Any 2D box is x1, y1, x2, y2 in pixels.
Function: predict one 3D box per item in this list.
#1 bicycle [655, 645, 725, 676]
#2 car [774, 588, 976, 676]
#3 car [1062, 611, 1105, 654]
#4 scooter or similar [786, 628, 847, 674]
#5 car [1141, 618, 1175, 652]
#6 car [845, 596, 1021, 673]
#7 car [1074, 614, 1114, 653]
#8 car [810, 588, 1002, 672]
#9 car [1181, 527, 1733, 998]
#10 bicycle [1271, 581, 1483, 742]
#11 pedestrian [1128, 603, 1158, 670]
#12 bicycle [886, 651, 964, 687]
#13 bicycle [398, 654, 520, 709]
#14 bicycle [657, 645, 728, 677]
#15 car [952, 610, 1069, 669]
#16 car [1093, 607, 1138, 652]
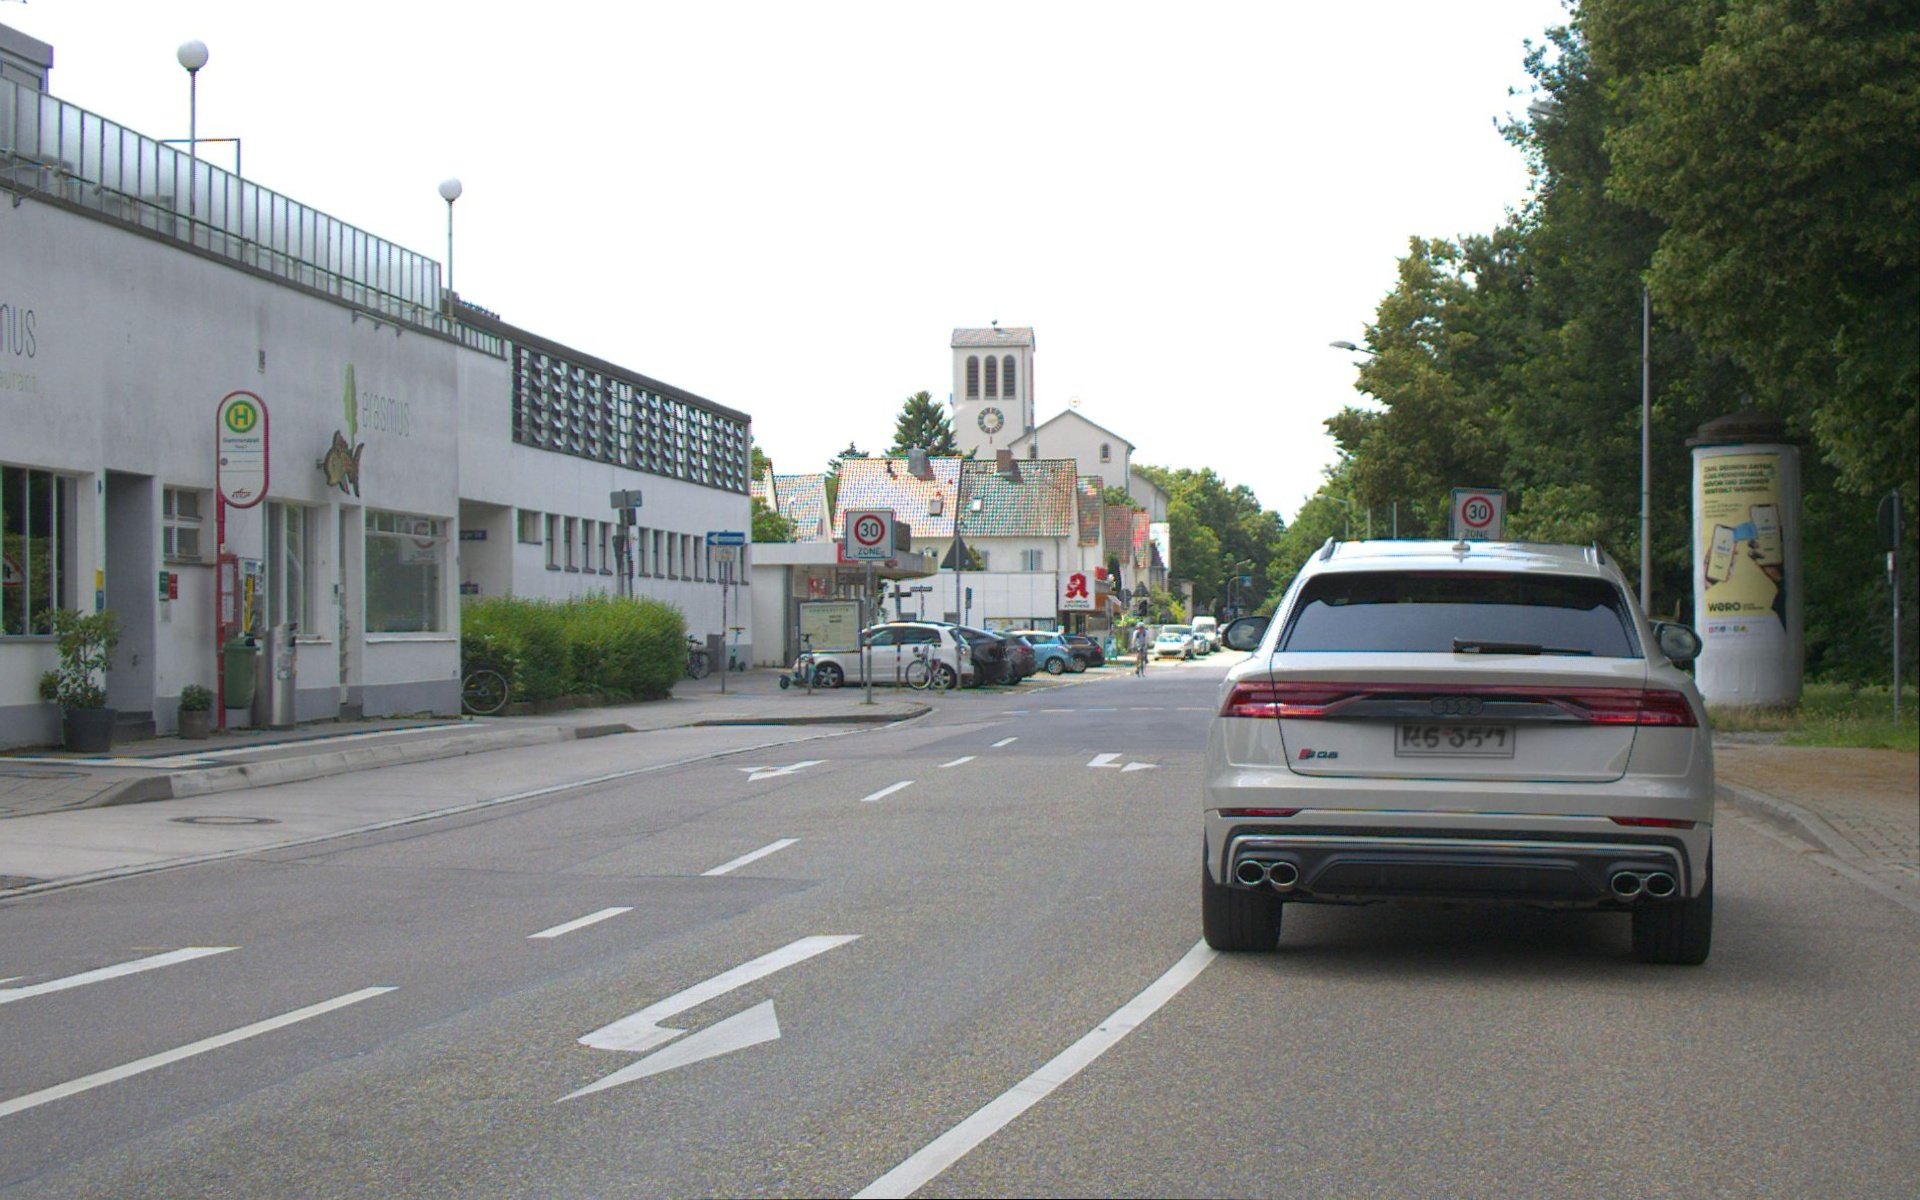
[{"bbox_3d":[-6.853,1.539,87.306,1.669,0.755,0.570,1,-1,-20],"label":"bicycle"},{"bbox_3d":[-1.944,0.760,79.734,4.631,2.007,2.000,0,-2,0],"label":"car"},{"bbox_3d":[5.912,1.548,164.123,1.994,2.007,4.000,0,0,2],"label":"car"},{"bbox_3d":[-3.179,1.141,76.142,0.622,0.992,1.996,1,-2,-25],"label":"scooter or similar"},{"bbox_3d":[10.819,1.890,187.902,1.783,1.848,4.000,0,0,2],"label":"car"},{"bbox_3d":[-0.712,0.931,91.295,4.631,2.007,2.000,0,-2,0],"label":"car"},{"bbox_3d":[6.876,1.711,176.358,1.994,2.007,4.000,0,0,2],"label":"car"},{"bbox_3d":[-1.295,0.741,84.025,4.631,2.007,2.000,0,-2,0],"label":"car"},{"bbox_3d":[2.232,0.585,14.891,1.982,1.678,4.572,1,0,11],"label":"car"},{"bbox_3d":[4.503,0.650,37.691,1.994,1.669,4.208,0,0,3],"label":"bicycle"},{"bbox_3d":[5.880,1.169,110.524,0.909,2.128,1.014,0,0,6],"label":"pedestrian"},{"bbox_3d":[-0.764,1.513,75.482,1.669,0.755,0.570,1,-1,1],"label":"bicycle"},{"bbox_3d":[-7.054,1.143,48.423,1.669,0.755,0.411,0,0,-12],"label":"bicycle"},{"bbox_3d":[-6.726,1.534,86.528,1.669,0.755,0.570,1,-1,-20],"label":"bicycle"},{"bbox_3d":[1.725,1.352,118.511,3.987,2.007,2.000,0,0,0],"label":"car"},{"bbox_3d":[6.971,1.327,154.651,1.994,2.007,4.000,0,0,2],"label":"car"}]
